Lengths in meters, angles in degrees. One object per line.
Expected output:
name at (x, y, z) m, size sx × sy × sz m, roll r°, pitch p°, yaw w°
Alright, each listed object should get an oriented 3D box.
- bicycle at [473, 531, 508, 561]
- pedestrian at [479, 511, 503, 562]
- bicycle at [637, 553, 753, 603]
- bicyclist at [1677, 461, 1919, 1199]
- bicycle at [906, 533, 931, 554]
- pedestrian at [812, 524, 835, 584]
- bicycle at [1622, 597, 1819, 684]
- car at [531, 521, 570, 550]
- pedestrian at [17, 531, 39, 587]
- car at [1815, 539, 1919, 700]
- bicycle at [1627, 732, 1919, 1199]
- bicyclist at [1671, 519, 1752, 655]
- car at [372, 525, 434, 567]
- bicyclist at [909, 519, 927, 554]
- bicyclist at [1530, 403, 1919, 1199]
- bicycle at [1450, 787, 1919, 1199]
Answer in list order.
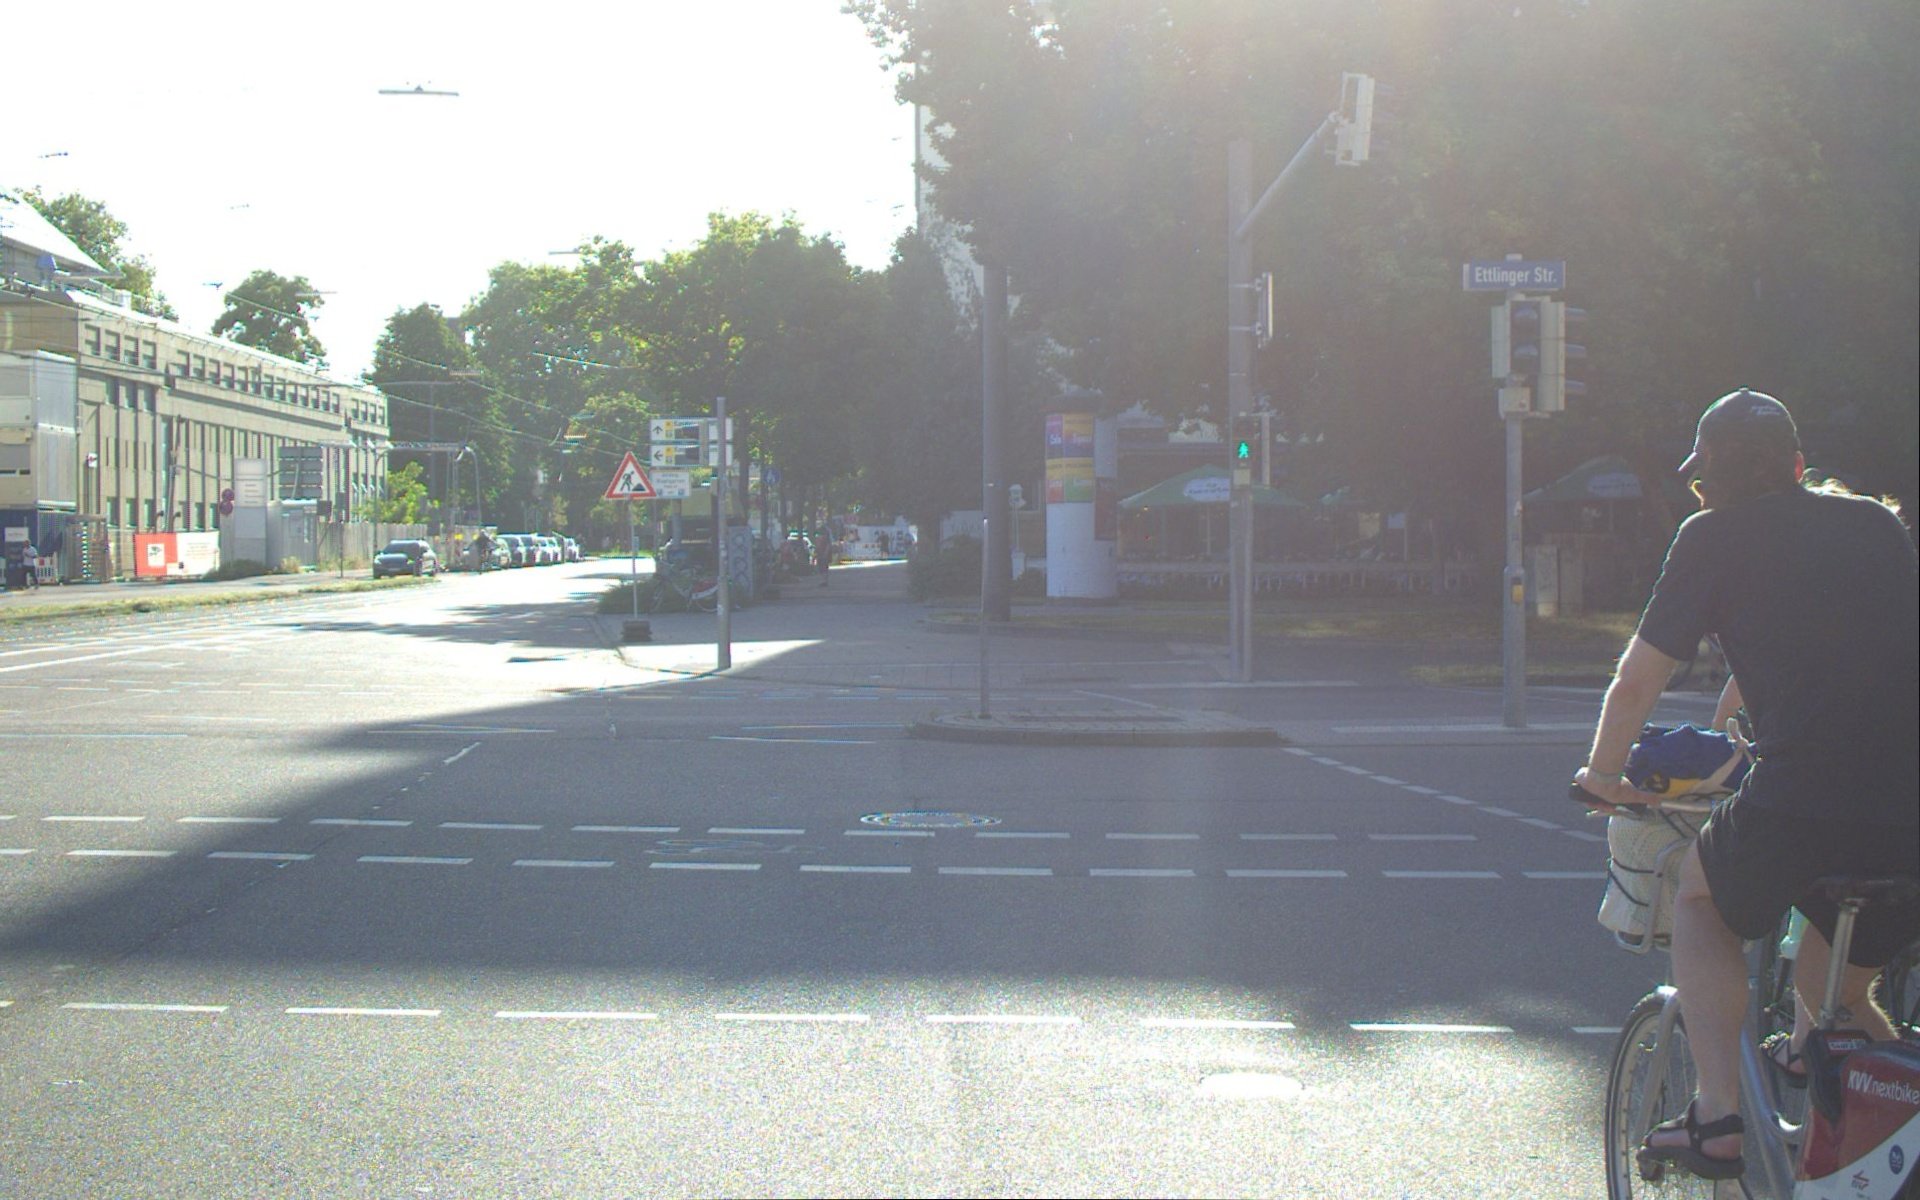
bicycle at (-19.099, -2.190, 139.945) m, size 0.751 × 1.201 × 3.107 m, roll 1°, pitch 0°, yaw 5°
pedestrian at (-19.093, -2.596, 140.007) m, size 0.751 × 2.056 × 1.050 m, roll 1°, pitch 0°, yaw 5°
bicycle at (-5.174, -0.435, 67.065) m, size 2.244 × 0.937 × 0.654 m, roll -1°, pitch 1°, yaw -5°
bicyclist at (2.196, 0.539, 8.383) m, size 0.583 × 1.732 × 0.950 m, roll -1°, pitch 1°, yaw -8°
bicycle at (-2.429, -3.276, 200.114) m, size 0.890 × 1.215 × 2.794 m, roll 1°, pitch 0°, yaw -12°
pedestrian at (-3.869, -1.303, 97.339) m, size 0.576 × 1.683 × 0.585 m, roll -1°, pitch 1°, yaw -8°
bicycle at (7.998, 0.423, 36.226) m, size 1.944 × 0.886 × 0.718 m, roll 1°, pitch 0°, yaw 6°
car at (-23.150, -3.641, 194.553) m, size 1.993 × 1.638 × 4.001 m, roll 0°, pitch 1°, yaw -4°
pedestrian at (-32.009, -1.408, 118.071) m, size 0.588 × 1.883 × 0.478 m, roll 1°, pitch 0°, yaw -1°
car at (10.861, 0.208, 33.418) m, size 4.576 × 1.511 × 2.000 m, roll 1°, pitch 0°, yaw 0°
bicycle at (2.196, 0.893, 8.401) m, size 0.582 × 1.040 × 1.747 m, roll -1°, pitch 1°, yaw -7°
bicyclist at (7.917, -0.141, 36.226) m, size 0.747 × 1.401 × 0.702 m, roll 1°, pitch 0°, yaw 6°
car at (-21.960, -2.140, 135.610) m, size 1.993 × 1.593 × 4.001 m, roll -1°, pitch 1°, yaw -3°
bicyclist at (-2.436, -3.693, 200.220) m, size 0.890 × 2.007 × 0.749 m, roll 1°, pitch 0°, yaw -12°
bicyclist at (1.499, 0.514, 6.286) m, size 0.623 × 1.709 × 0.913 m, roll -1°, pitch 1°, yaw -10°
bicycle at (1.481, 0.932, 6.355) m, size 0.623 × 1.040 × 1.747 m, roll -1°, pitch 1°, yaw -10°
